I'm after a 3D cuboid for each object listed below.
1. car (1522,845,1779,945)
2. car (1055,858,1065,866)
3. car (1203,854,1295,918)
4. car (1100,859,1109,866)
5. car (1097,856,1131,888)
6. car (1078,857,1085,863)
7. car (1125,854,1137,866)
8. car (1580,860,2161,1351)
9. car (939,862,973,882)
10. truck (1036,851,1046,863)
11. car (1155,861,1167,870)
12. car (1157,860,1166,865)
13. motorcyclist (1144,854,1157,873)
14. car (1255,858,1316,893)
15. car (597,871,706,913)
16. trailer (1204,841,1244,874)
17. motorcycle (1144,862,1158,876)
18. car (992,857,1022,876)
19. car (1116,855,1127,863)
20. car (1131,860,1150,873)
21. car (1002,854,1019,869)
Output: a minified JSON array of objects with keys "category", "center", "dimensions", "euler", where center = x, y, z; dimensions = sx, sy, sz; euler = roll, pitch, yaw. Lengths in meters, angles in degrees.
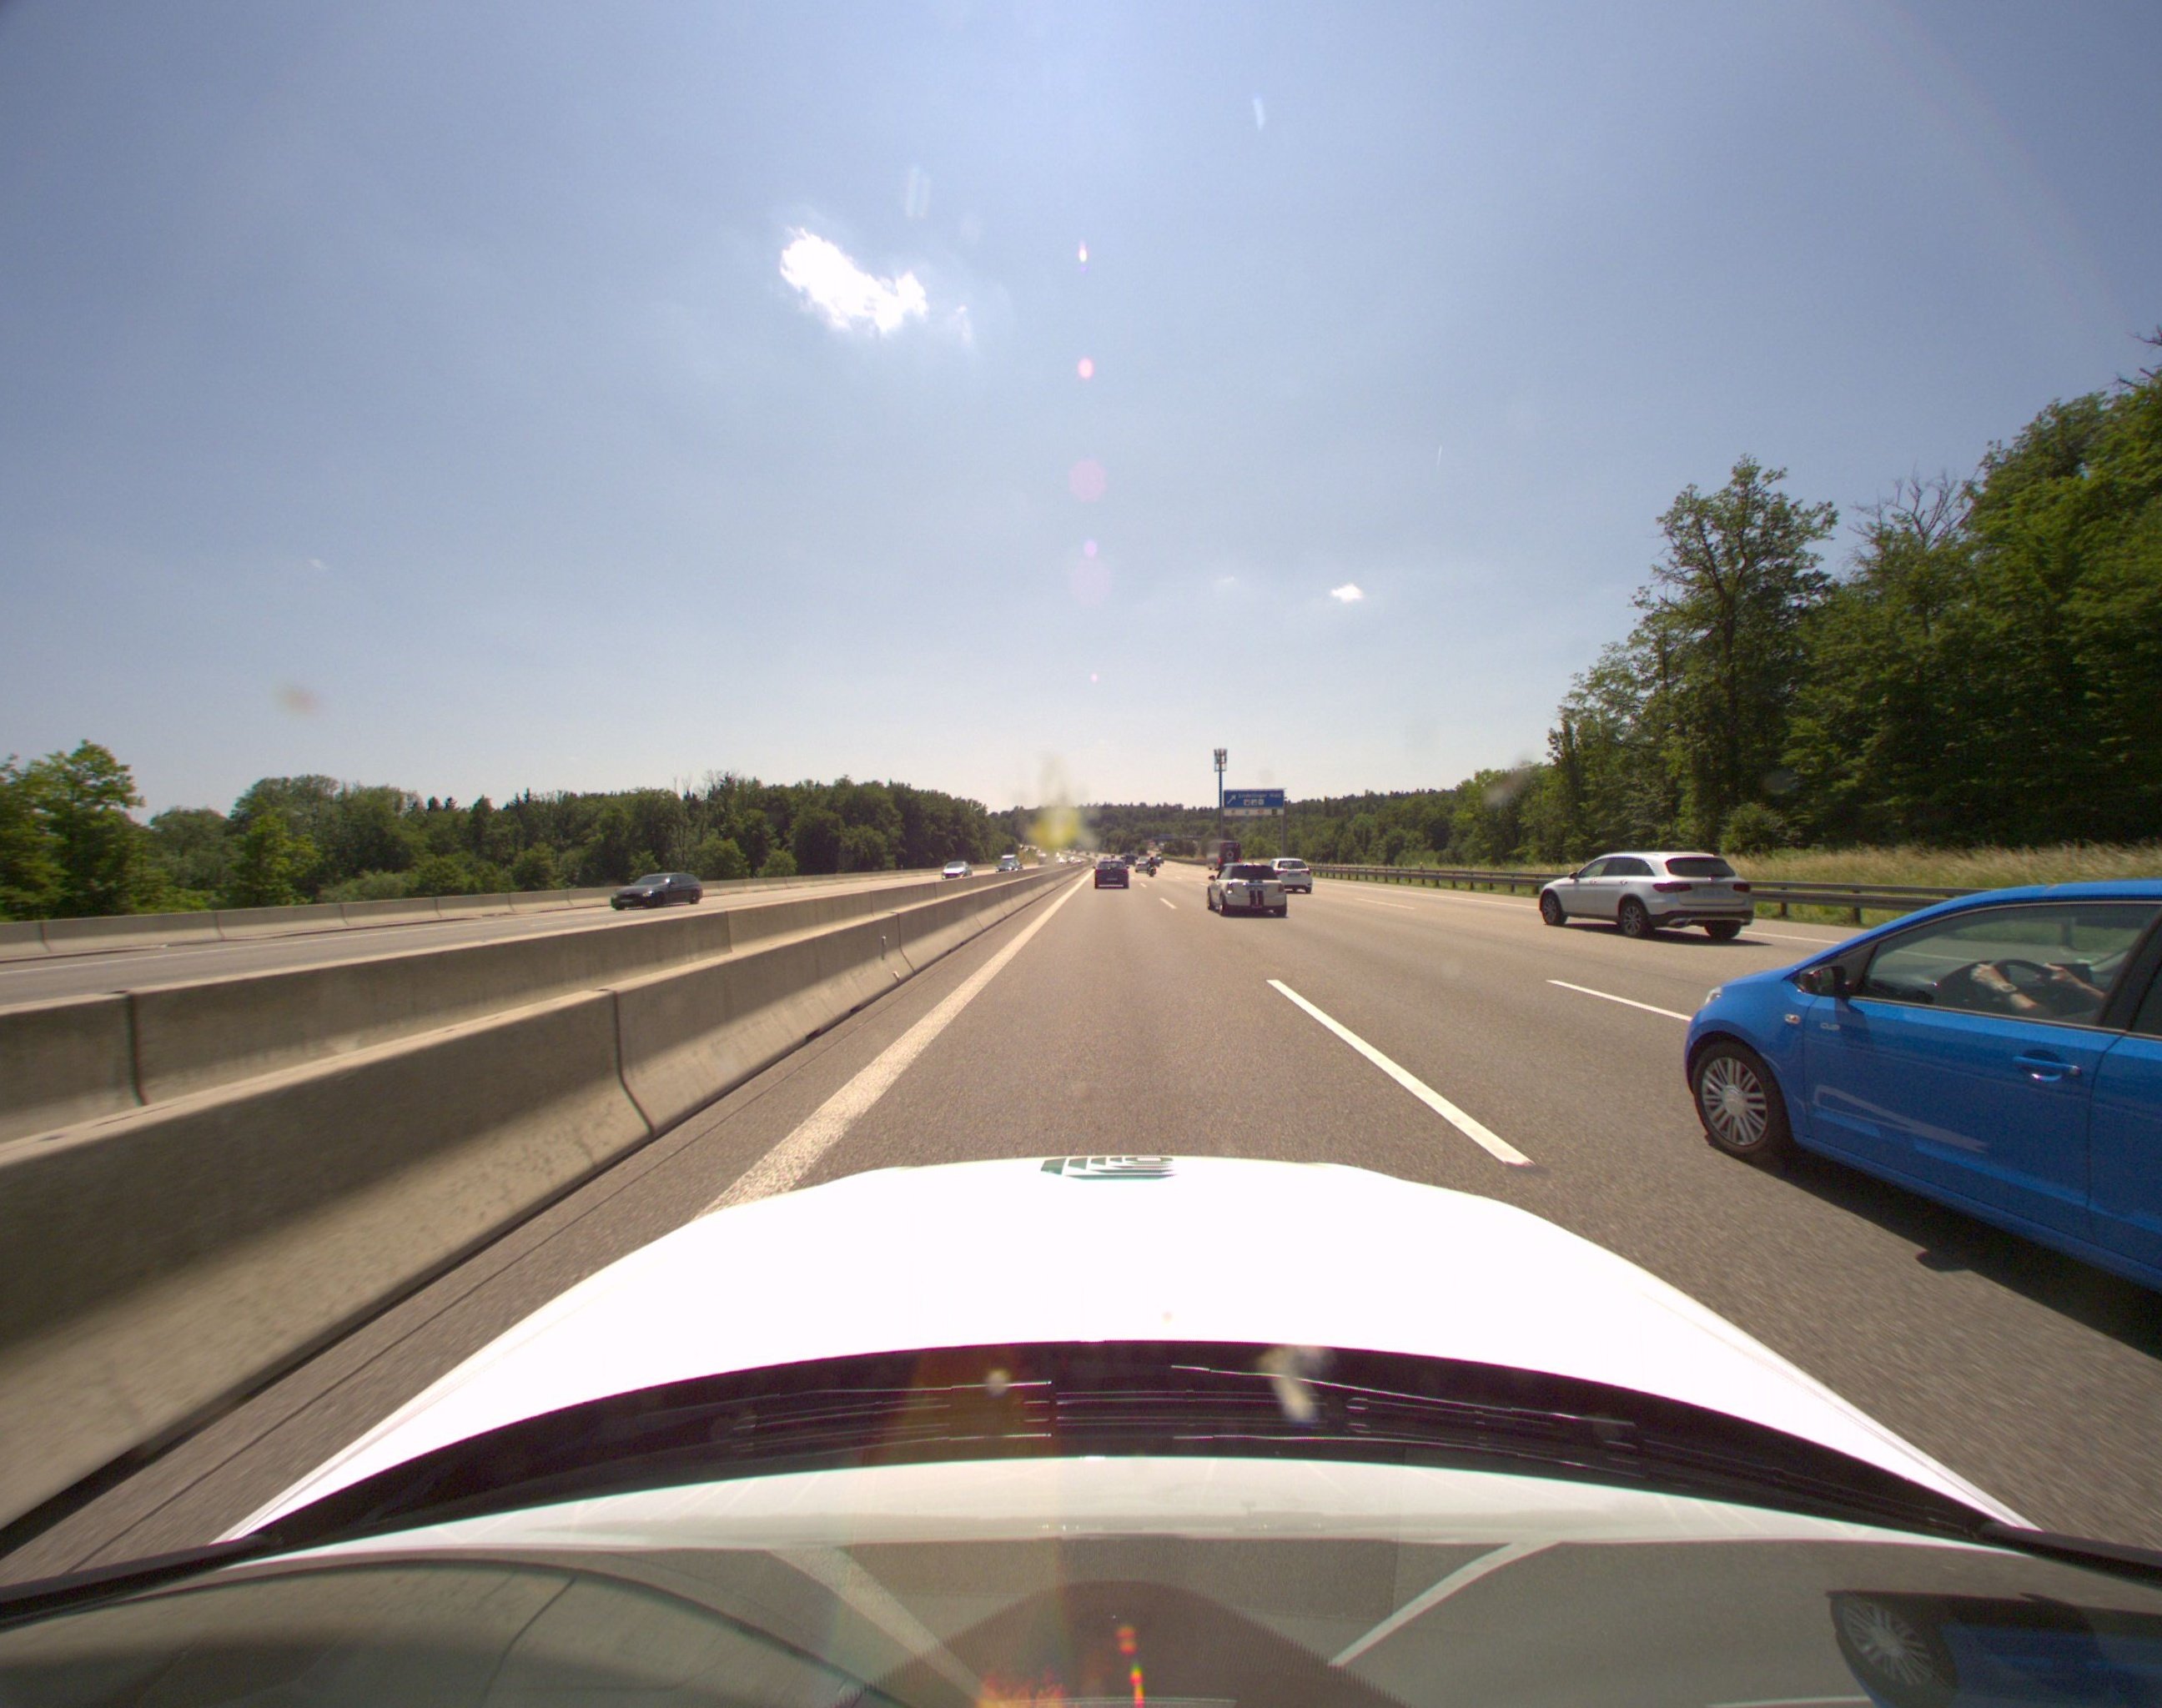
[{"category":"car","center":[11.405,0.690,16.898],"dimensions":[1.794,1.731,5.241],"euler":[1,1,2]},{"category":"car","center":[-4.923,1.921,193.335],"dimensions":[1.986,1.787,5.320],"euler":[-2,0,2]},{"category":"car","center":[4.505,0.802,22.380],"dimensions":[1.834,1.552,4.002],"euler":[1,0,2]},{"category":"car","center":[4.265,1.533,147.174],"dimensions":[1.531,1.212,3.459],"euler":[-1,-1,0]},{"category":"car","center":[1.660,0.884,40.977],"dimensions":[1.618,1.487,3.687],"euler":[0,0,2]},{"category":"car","center":[0.158,1.729,220.955],"dimensions":[1.842,1.523,5.320],"euler":[-2,0,2]},{"category":"car","center":[8.609,1.032,140.208],"dimensions":[2.089,1.851,4.083],"euler":[-1,0,2]},{"category":"car","center":[4.066,0.747,3.314],"dimensions":[1.730,1.411,4.002],"euler":[-1,0,2]},{"category":"car","center":[-9.380,1.309,61.256],"dimensions":[1.832,1.441,4.000],"euler":[-1,0,1]},{"category":"truck","center":[-11.927,0.907,242.958],"dimensions":[2.530,3.571,8.578],"euler":[-1,0,1]},{"category":"car","center":[12.955,1.855,132.519],"dimensions":[1.669,1.432,3.686],"euler":[-1,0,1]},{"category":"car","center":[18.027,1.920,182.548],"dimensions":[1.603,1.212,3.459],"euler":[-1,-1,0]},{"category":"motorcyclist","center":[5.650,0.776,66.215],"dimensions":[0.959,1.437,1.235],"euler":[-2,0,0]},{"category":"car","center":[8.976,0.918,36.081],"dimensions":[1.660,1.433,4.376],"euler":[-1,0,1]},{"category":"car","center":[-17.569,1.522,33.633],"dimensions":[1.832,1.441,4.764],"euler":[-3,0,1]},{"category":"trailer","center":[17.551,0.512,100.849],"dimensions":[2.847,3.688,13.547],"euler":[-1,-1,2]},{"category":"motorcycle","center":[5.686,1.212,66.245],"dimensions":[0.974,1.129,2.272],"euler":[-1,0,1]},{"category":"car","center":[-5.836,0.941,64.831],"dimensions":[1.832,1.441,4.845],"euler":[-1,0,1]},{"category":"car","center":[9.125,1.179,182.794],"dimensions":[1.989,1.684,4.420],"euler":[1,1,-2]},{"category":"car","center":[6.134,1.328,84.572],"dimensions":[1.776,1.265,3.461],"euler":[-1,0,2]},{"category":"car","center":[-13.250,1.452,153.949],"dimensions":[2.213,2.659,8.178],"euler":[-2,0,2]}]
